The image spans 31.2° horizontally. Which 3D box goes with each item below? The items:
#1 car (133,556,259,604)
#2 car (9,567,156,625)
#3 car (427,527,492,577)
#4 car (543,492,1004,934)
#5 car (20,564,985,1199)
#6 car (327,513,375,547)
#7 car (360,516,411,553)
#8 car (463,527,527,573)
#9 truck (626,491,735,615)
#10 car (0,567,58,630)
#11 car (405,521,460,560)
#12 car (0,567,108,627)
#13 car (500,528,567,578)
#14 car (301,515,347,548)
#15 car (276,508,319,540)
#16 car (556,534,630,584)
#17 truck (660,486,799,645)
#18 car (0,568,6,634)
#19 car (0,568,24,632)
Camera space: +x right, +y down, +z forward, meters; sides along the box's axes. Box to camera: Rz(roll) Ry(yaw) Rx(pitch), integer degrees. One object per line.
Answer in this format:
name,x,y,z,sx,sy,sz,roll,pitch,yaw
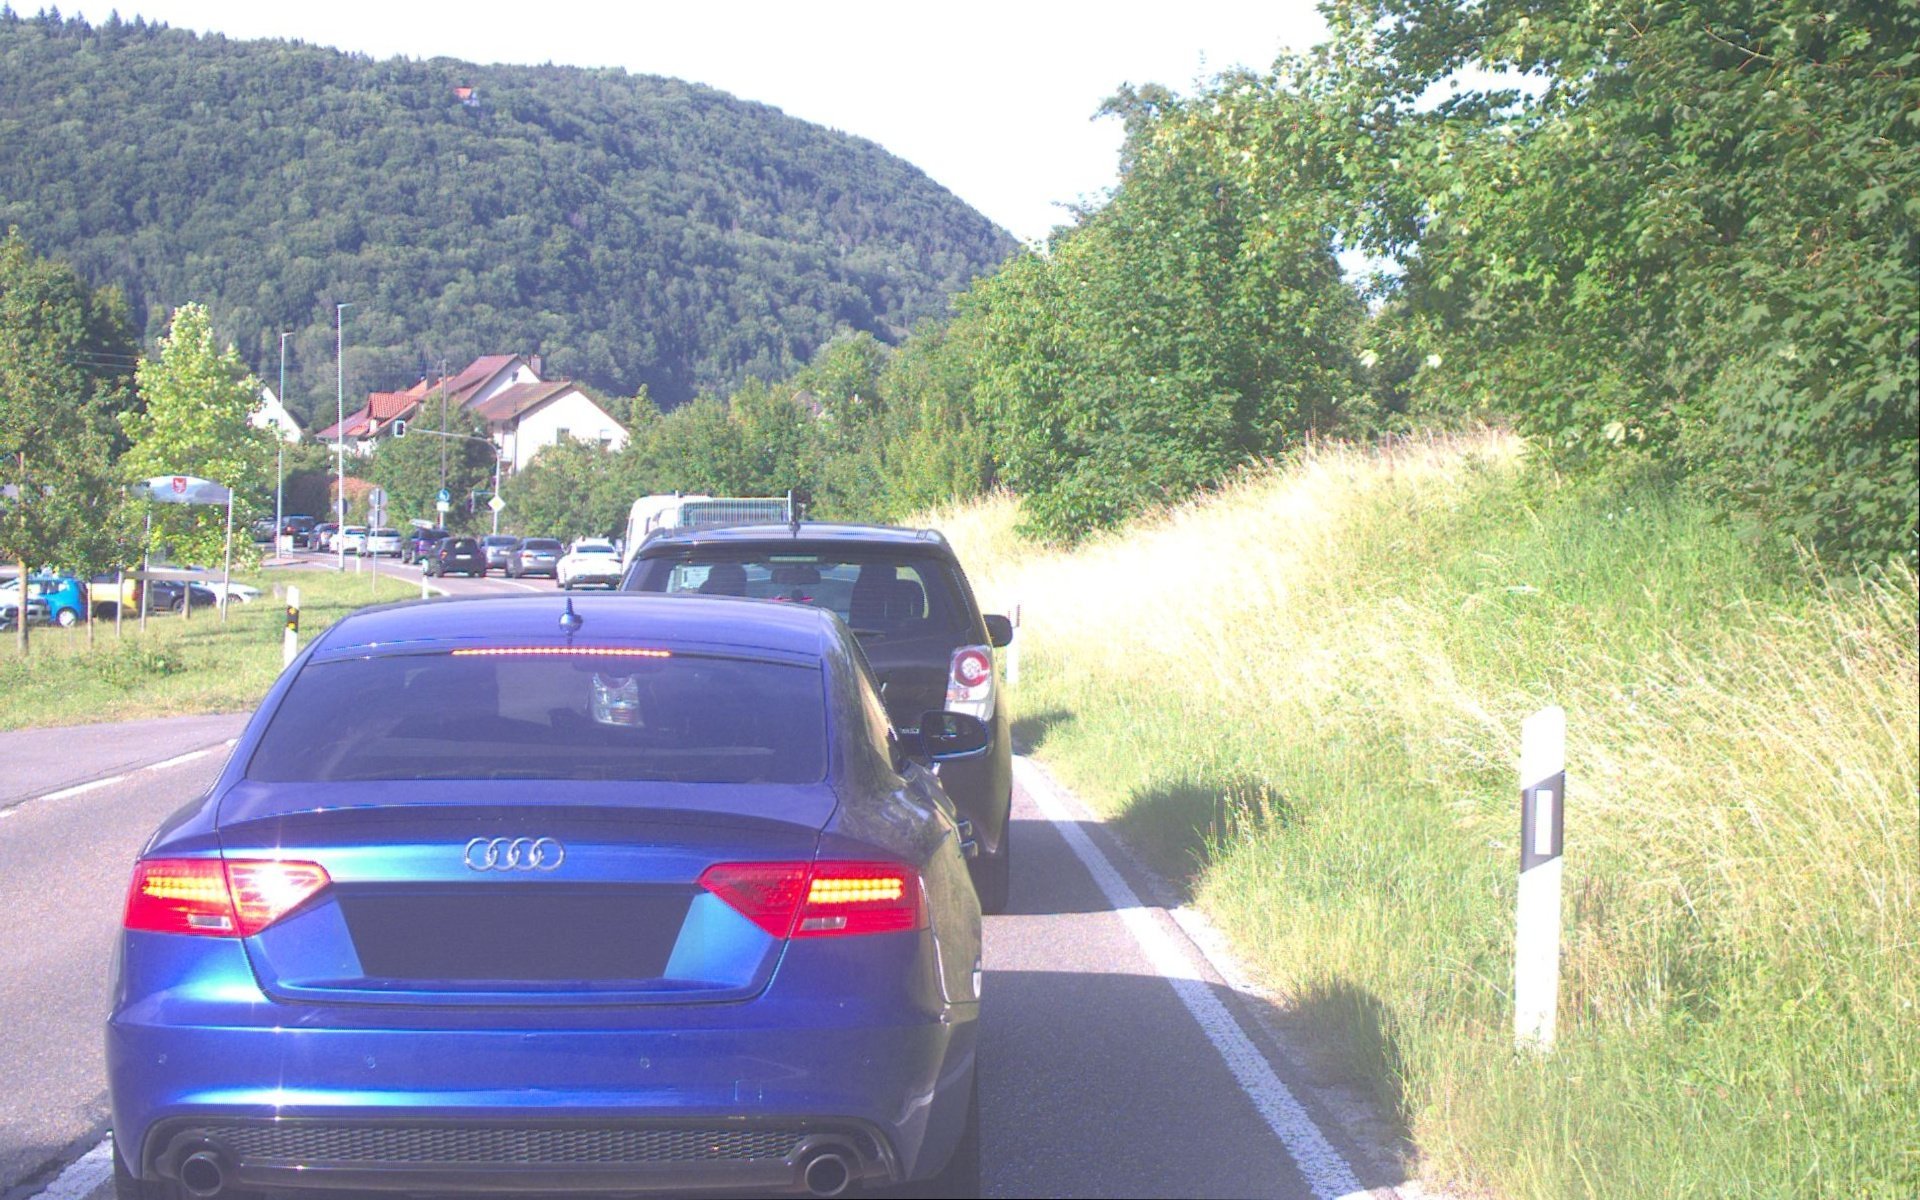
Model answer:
car,-26.326,-0.697,118.567,3.986,1.573,1.753,1,0,-3
car,-26.525,-0.126,104.007,3.986,1.705,2.000,1,0,-3
car,-17.929,-1.716,123.063,1.845,1.706,4.001,1,0,-15
car,-0.708,0.416,15.141,1.754,1.675,3.846,1,0,0
car,-0.830,0.641,8.215,1.754,1.425,3.846,1,0,0
car,-31.163,-3.570,175.793,1.845,1.706,4.001,1,1,-19
car,-27.935,-3.171,167.184,1.845,1.706,4.001,1,1,-18
car,-18.015,-1.923,133.017,1.845,1.706,4.001,1,1,-17
truck,-6.141,-1.009,74.955,2.229,2.561,6.709,1,0,-6
car,-27.315,-0.060,95.545,3.986,1.705,2.000,1,0,-3
car,-23.384,-2.628,152.296,1.845,1.706,4.001,1,1,-17
car,-27.325,-0.113,101.332,3.986,1.705,2.000,1,0,-3
car,-15.161,-1.670,122.051,1.845,1.706,4.001,1,0,-15
car,-34.192,-3.661,184.690,1.845,1.706,4.001,1,1,-19
car,-37.076,-4.227,192.358,1.845,1.706,4.001,1,1,-18
car,-11.214,-1.254,104.862,1.845,1.477,4.001,1,0,-12
truck,-4.018,-0.592,59.276,2.229,2.561,6.104,1,0,-5
car,-26.855,0.008,88.604,3.986,1.705,2.000,1,0,-3
car,-27.377,-0.032,92.260,3.986,1.705,2.000,1,0,-3
